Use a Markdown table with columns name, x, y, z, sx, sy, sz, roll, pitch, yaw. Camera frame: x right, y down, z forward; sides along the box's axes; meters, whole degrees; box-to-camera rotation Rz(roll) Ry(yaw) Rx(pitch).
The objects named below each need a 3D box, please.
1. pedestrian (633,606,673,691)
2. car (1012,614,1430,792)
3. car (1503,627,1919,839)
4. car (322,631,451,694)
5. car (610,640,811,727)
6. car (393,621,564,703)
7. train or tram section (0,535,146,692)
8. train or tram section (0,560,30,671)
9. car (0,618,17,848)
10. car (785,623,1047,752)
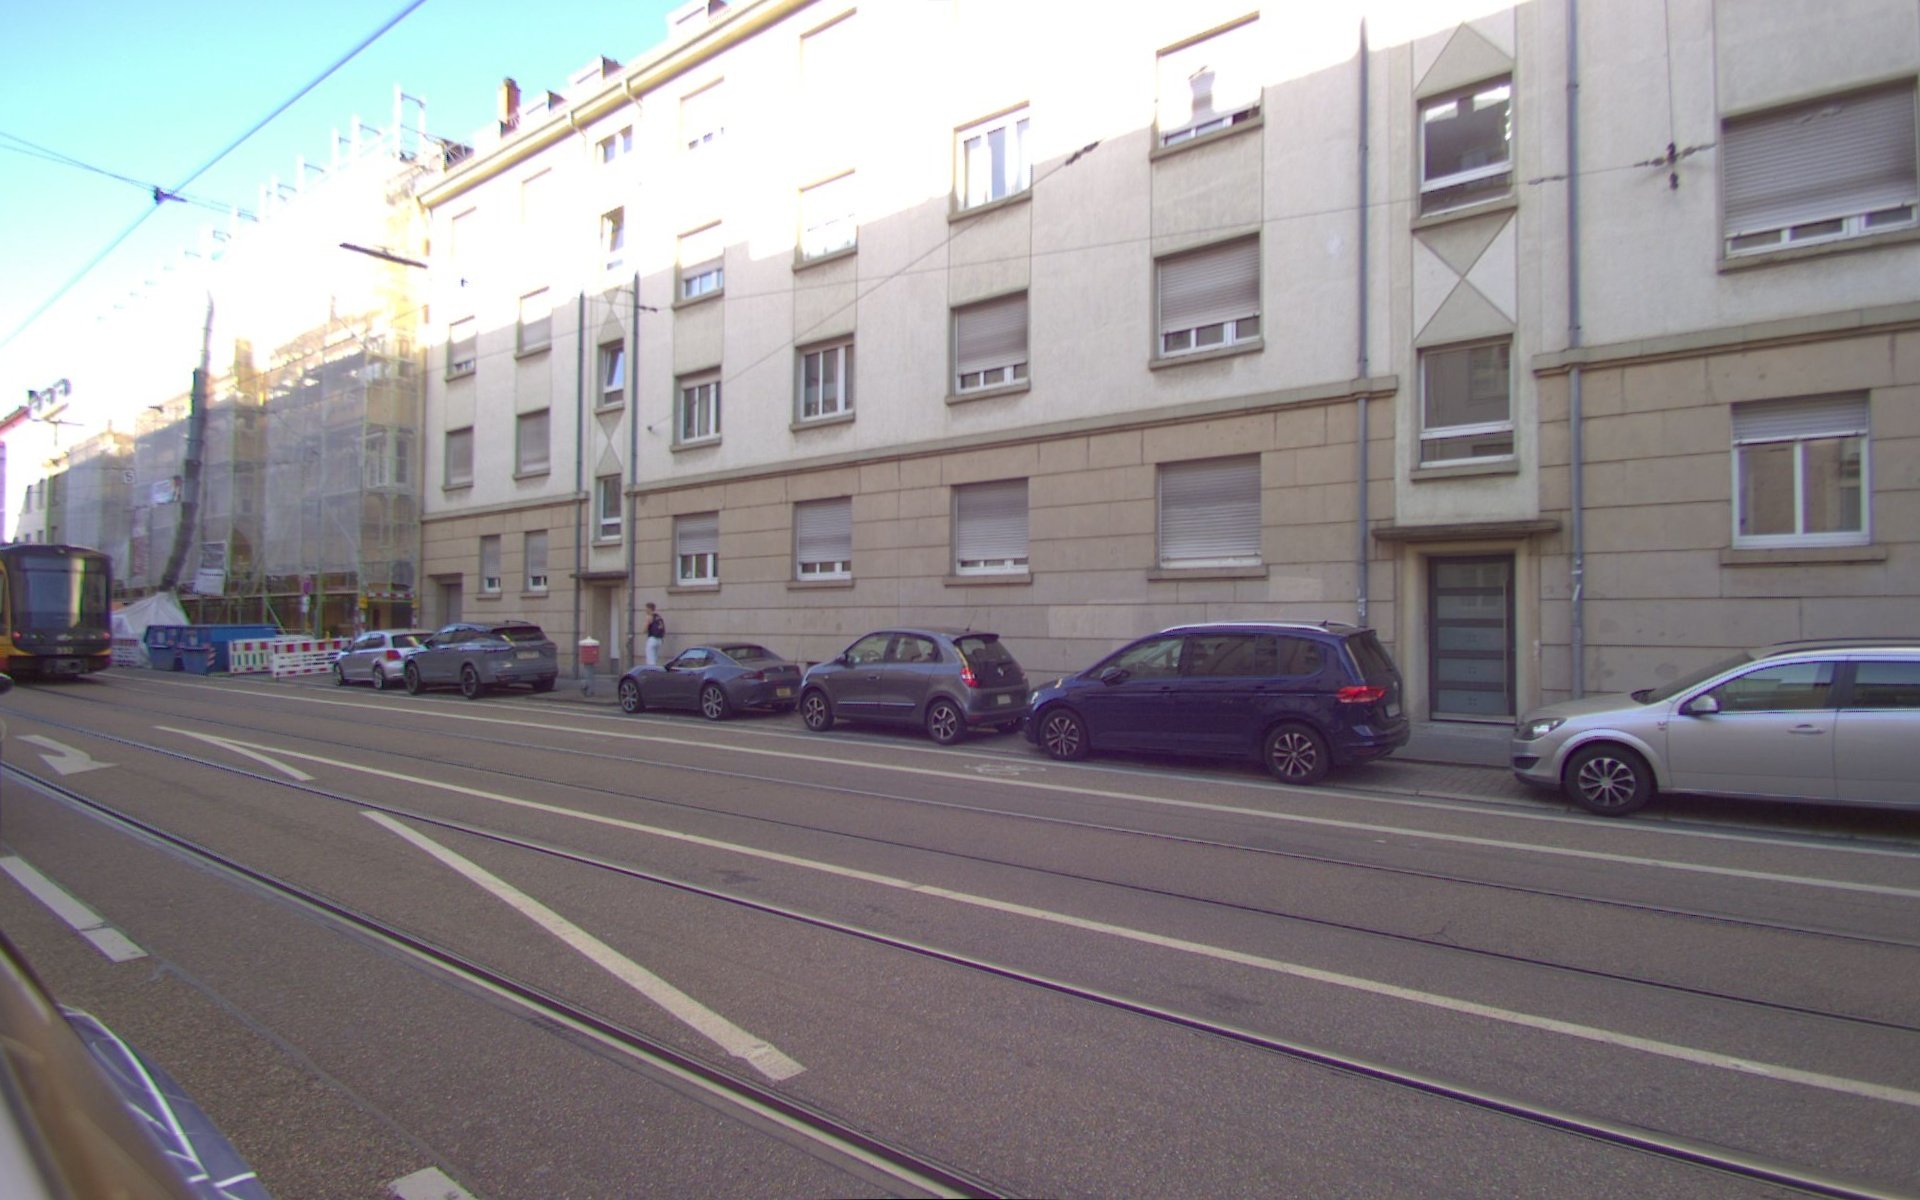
| name | x | y | z | sx | sy | sz | roll | pitch | yaw |
| --- | --- | --- | --- | --- | --- | --- | --- | --- | --- |
| pedestrian | -6.950 | 1.083 | 22.908 | 0.762 | 1.886 | 0.513 | -1 | 0 | 38 |
| car | 2.895 | 1.013 | 11.683 | 4.318 | 1.645 | 1.798 | -1 | 1 | 37 |
| car | 7.112 | 1.011 | 8.432 | 4.363 | 1.465 | 1.709 | -1 | 1 | 37 |
| car | -14.460 | 1.521 | 25.478 | 3.502 | 1.390 | 1.546 | -1 | 1 | 37 |
| car | -4.349 | 1.370 | 17.452 | 3.518 | 1.229 | 1.458 | -1 | 1 | 37 |
| car | -10.829 | 1.312 | 22.668 | 4.152 | 1.621 | 1.731 | -1 | 1 | 37 |
| train or tram section | -26.382 | 0.405 | 28.177 | 13.024 | 3.589 | 2.832 | -1 | -2 | 38 |
| train or tram section | -36.784 | 0.539 | 36.286 | 13.315 | 3.589 | 2.832 | -1 | -2 | 38 |
| car | -7.966 | 0.873 | 6.962 | 3.814 | 1.436 | 1.706 | -2 | -3 | 40 |
| car | -0.697 | 1.152 | 14.637 | 3.591 | 1.570 | 1.624 | -1 | 1 | 38 |
